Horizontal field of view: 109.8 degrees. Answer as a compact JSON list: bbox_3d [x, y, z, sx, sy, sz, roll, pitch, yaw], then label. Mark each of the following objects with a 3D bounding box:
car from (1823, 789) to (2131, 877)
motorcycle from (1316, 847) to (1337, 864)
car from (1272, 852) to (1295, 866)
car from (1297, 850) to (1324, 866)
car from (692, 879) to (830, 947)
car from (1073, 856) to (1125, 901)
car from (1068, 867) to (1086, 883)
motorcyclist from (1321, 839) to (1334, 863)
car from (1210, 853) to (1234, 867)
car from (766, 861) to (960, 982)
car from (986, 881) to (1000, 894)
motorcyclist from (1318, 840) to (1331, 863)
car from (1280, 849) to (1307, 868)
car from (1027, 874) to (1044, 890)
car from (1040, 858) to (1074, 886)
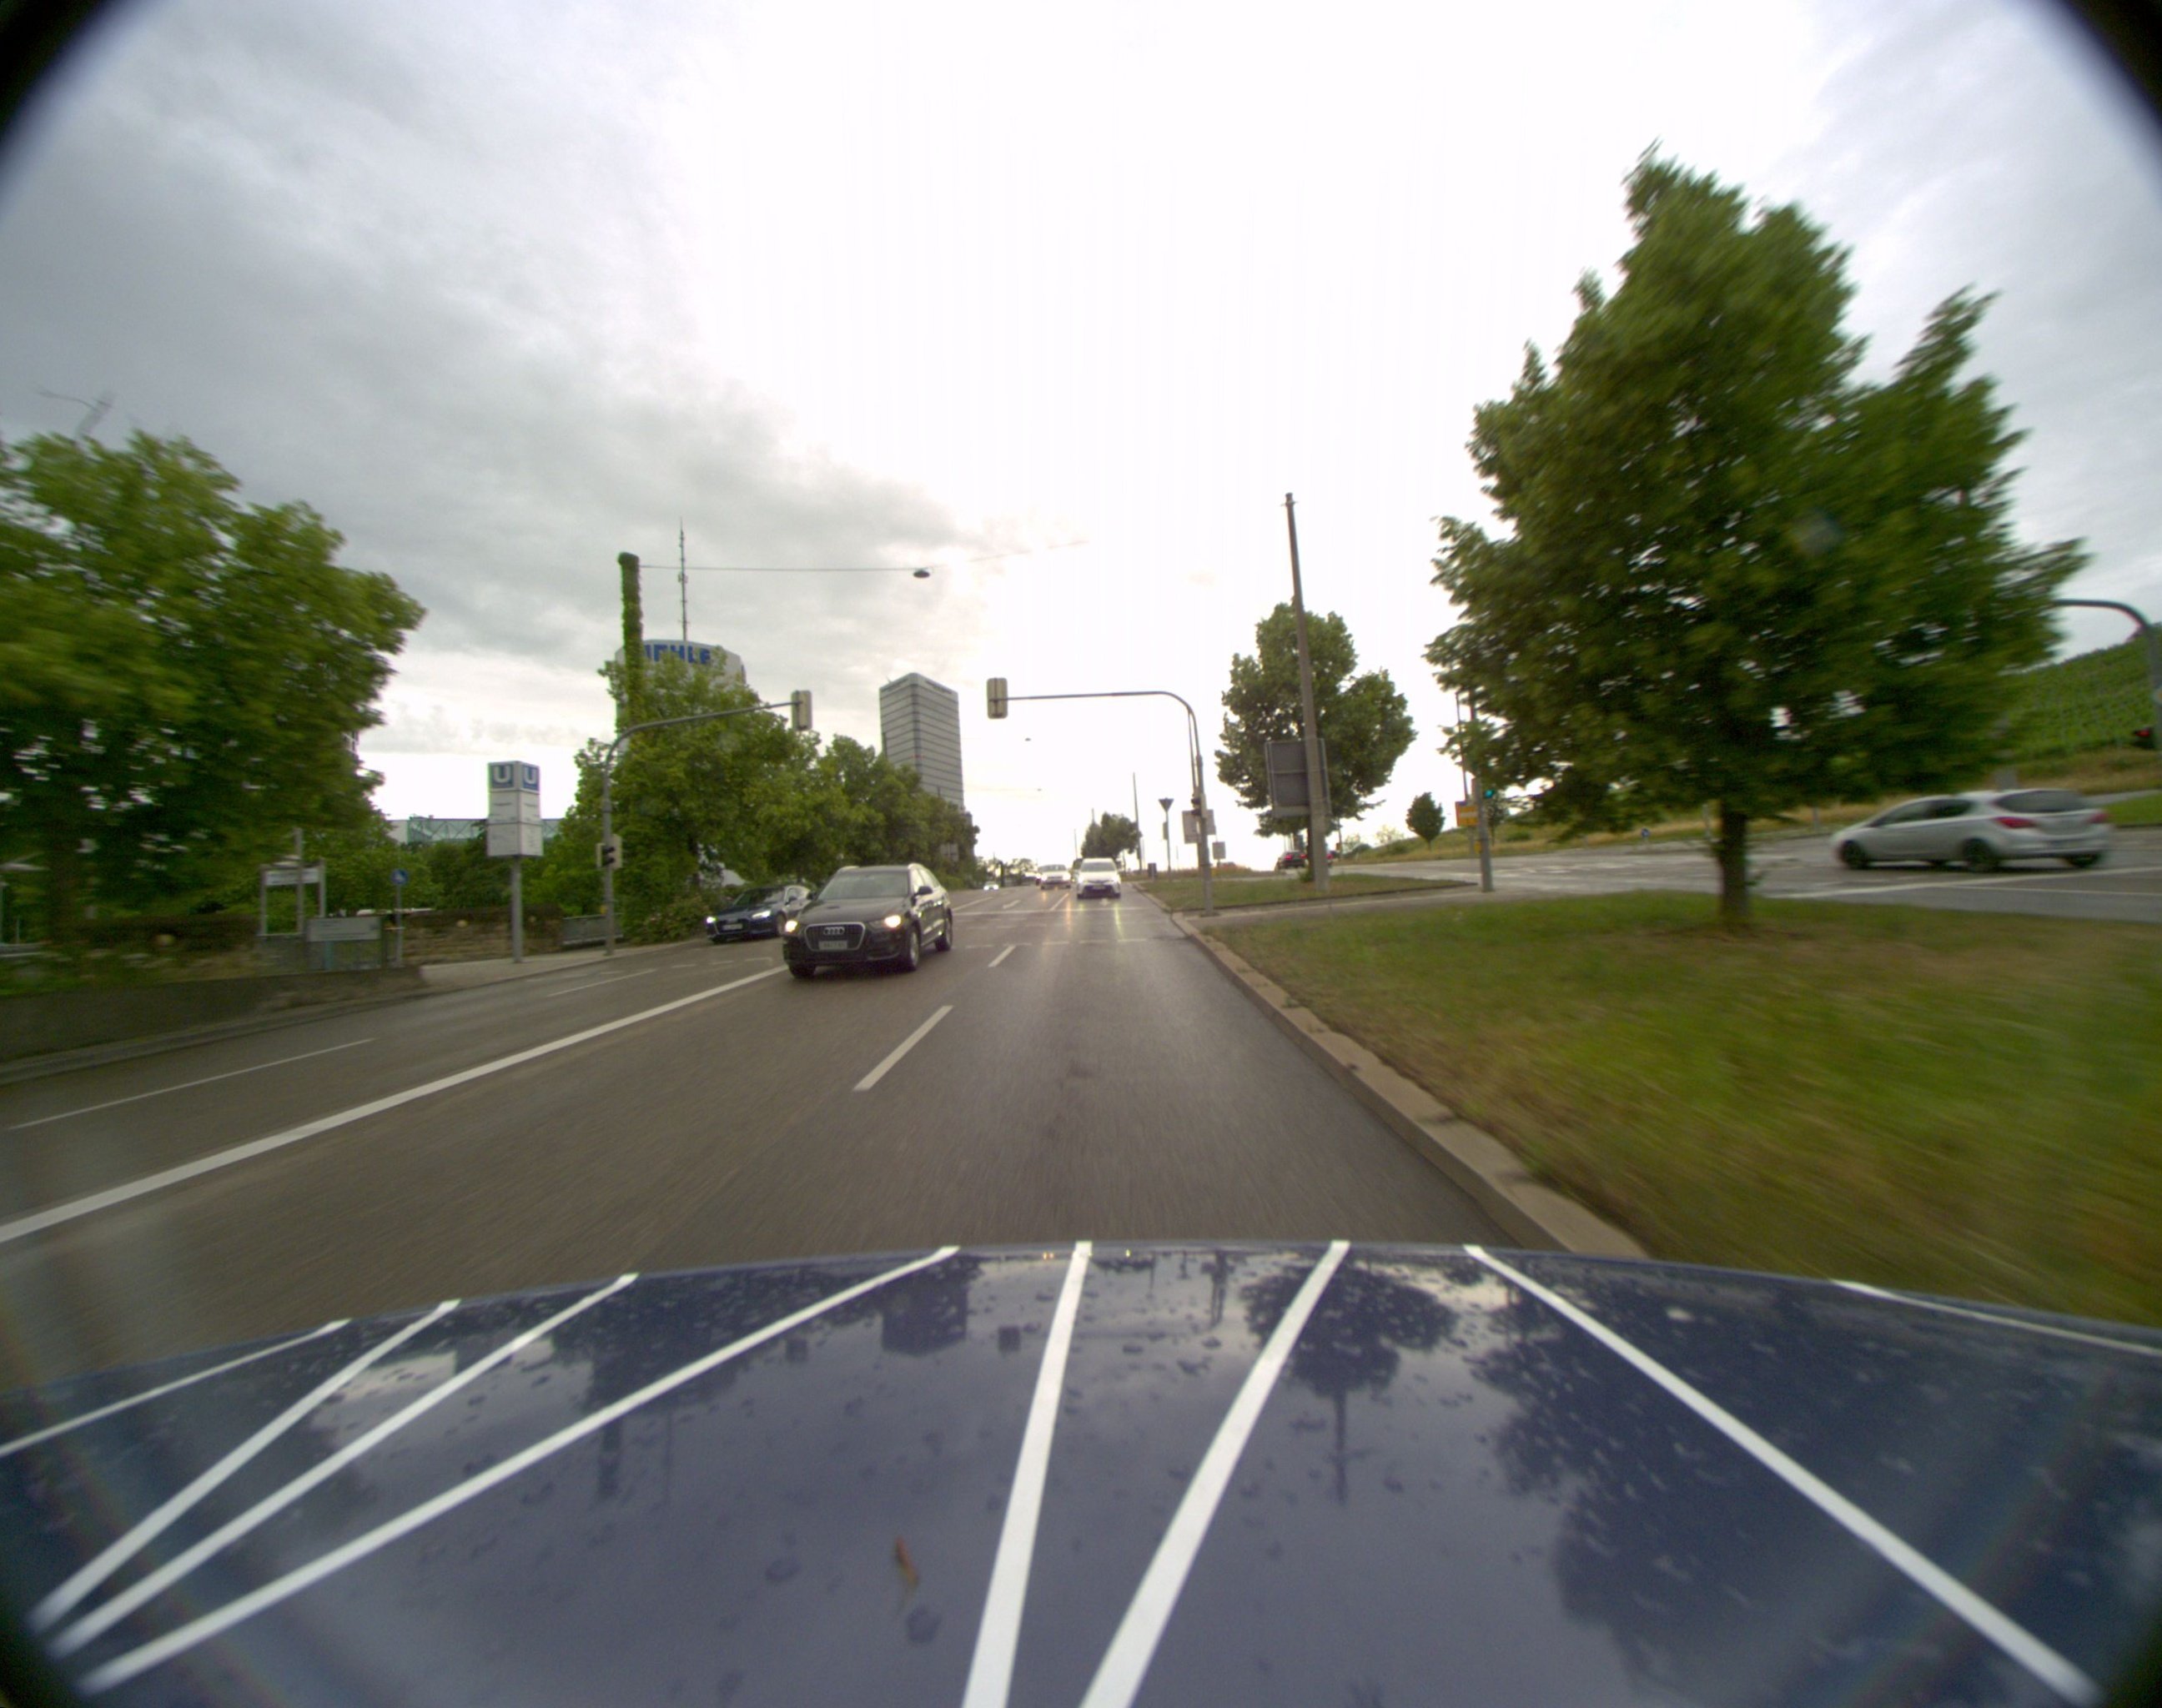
[{"bbox_3d":[16.851,-0.365,14.646,1.541,1.381,3.929,-4,0,7],"label":"car"},{"bbox_3d":[17.022,0.132,52.724,0.618,1.043,2.503,-4,-1,1],"label":"motorcycle"},{"bbox_3d":[25.310,0.628,95.173,1.772,1.638,4.178,-4,0,2],"label":"car"},{"bbox_3d":[23.249,0.469,77.072,1.655,1.454,3.775,-4,-1,2],"label":"car"},{"bbox_3d":[-8.804,1.562,21.370,1.876,1.417,4.348,-4,1,1],"label":"car"},{"bbox_3d":[0.779,0.926,30.528,1.827,1.574,4.298,-4,0,3],"label":"car"},{"bbox_3d":[-0.425,2.215,79.452,1.543,1.420,3.808,-3,-3,-5],"label":"car"},{"bbox_3d":[16.997,-0.188,52.439,0.613,1.572,0.582,-4,-1,1],"label":"motorcyclist"},{"bbox_3d":[16.308,0.700,88.183,1.755,1.495,4.463,-4,0,-3],"label":"car"},{"bbox_3d":[-3.258,0.930,12.266,1.729,1.524,4.127,-4,-1,2],"label":"car"},{"bbox_3d":[-11.312,4.286,97.714,1.636,1.466,3.676,-3,-3,-8],"label":"car"},{"bbox_3d":[16.993,-0.184,53.099,0.583,1.586,0.643,-4,-1,1],"label":"motorcyclist"},{"bbox_3d":[17.848,0.349,63.959,1.541,1.495,3.663,-4,0,6],"label":"car"},{"bbox_3d":[-5.628,3.428,93.931,1.803,1.763,4.000,-3,-3,-8],"label":"car"},{"bbox_3d":[-1.341,1.043,43.721,1.730,1.463,4.265,-3,-1,0],"label":"car"}]
